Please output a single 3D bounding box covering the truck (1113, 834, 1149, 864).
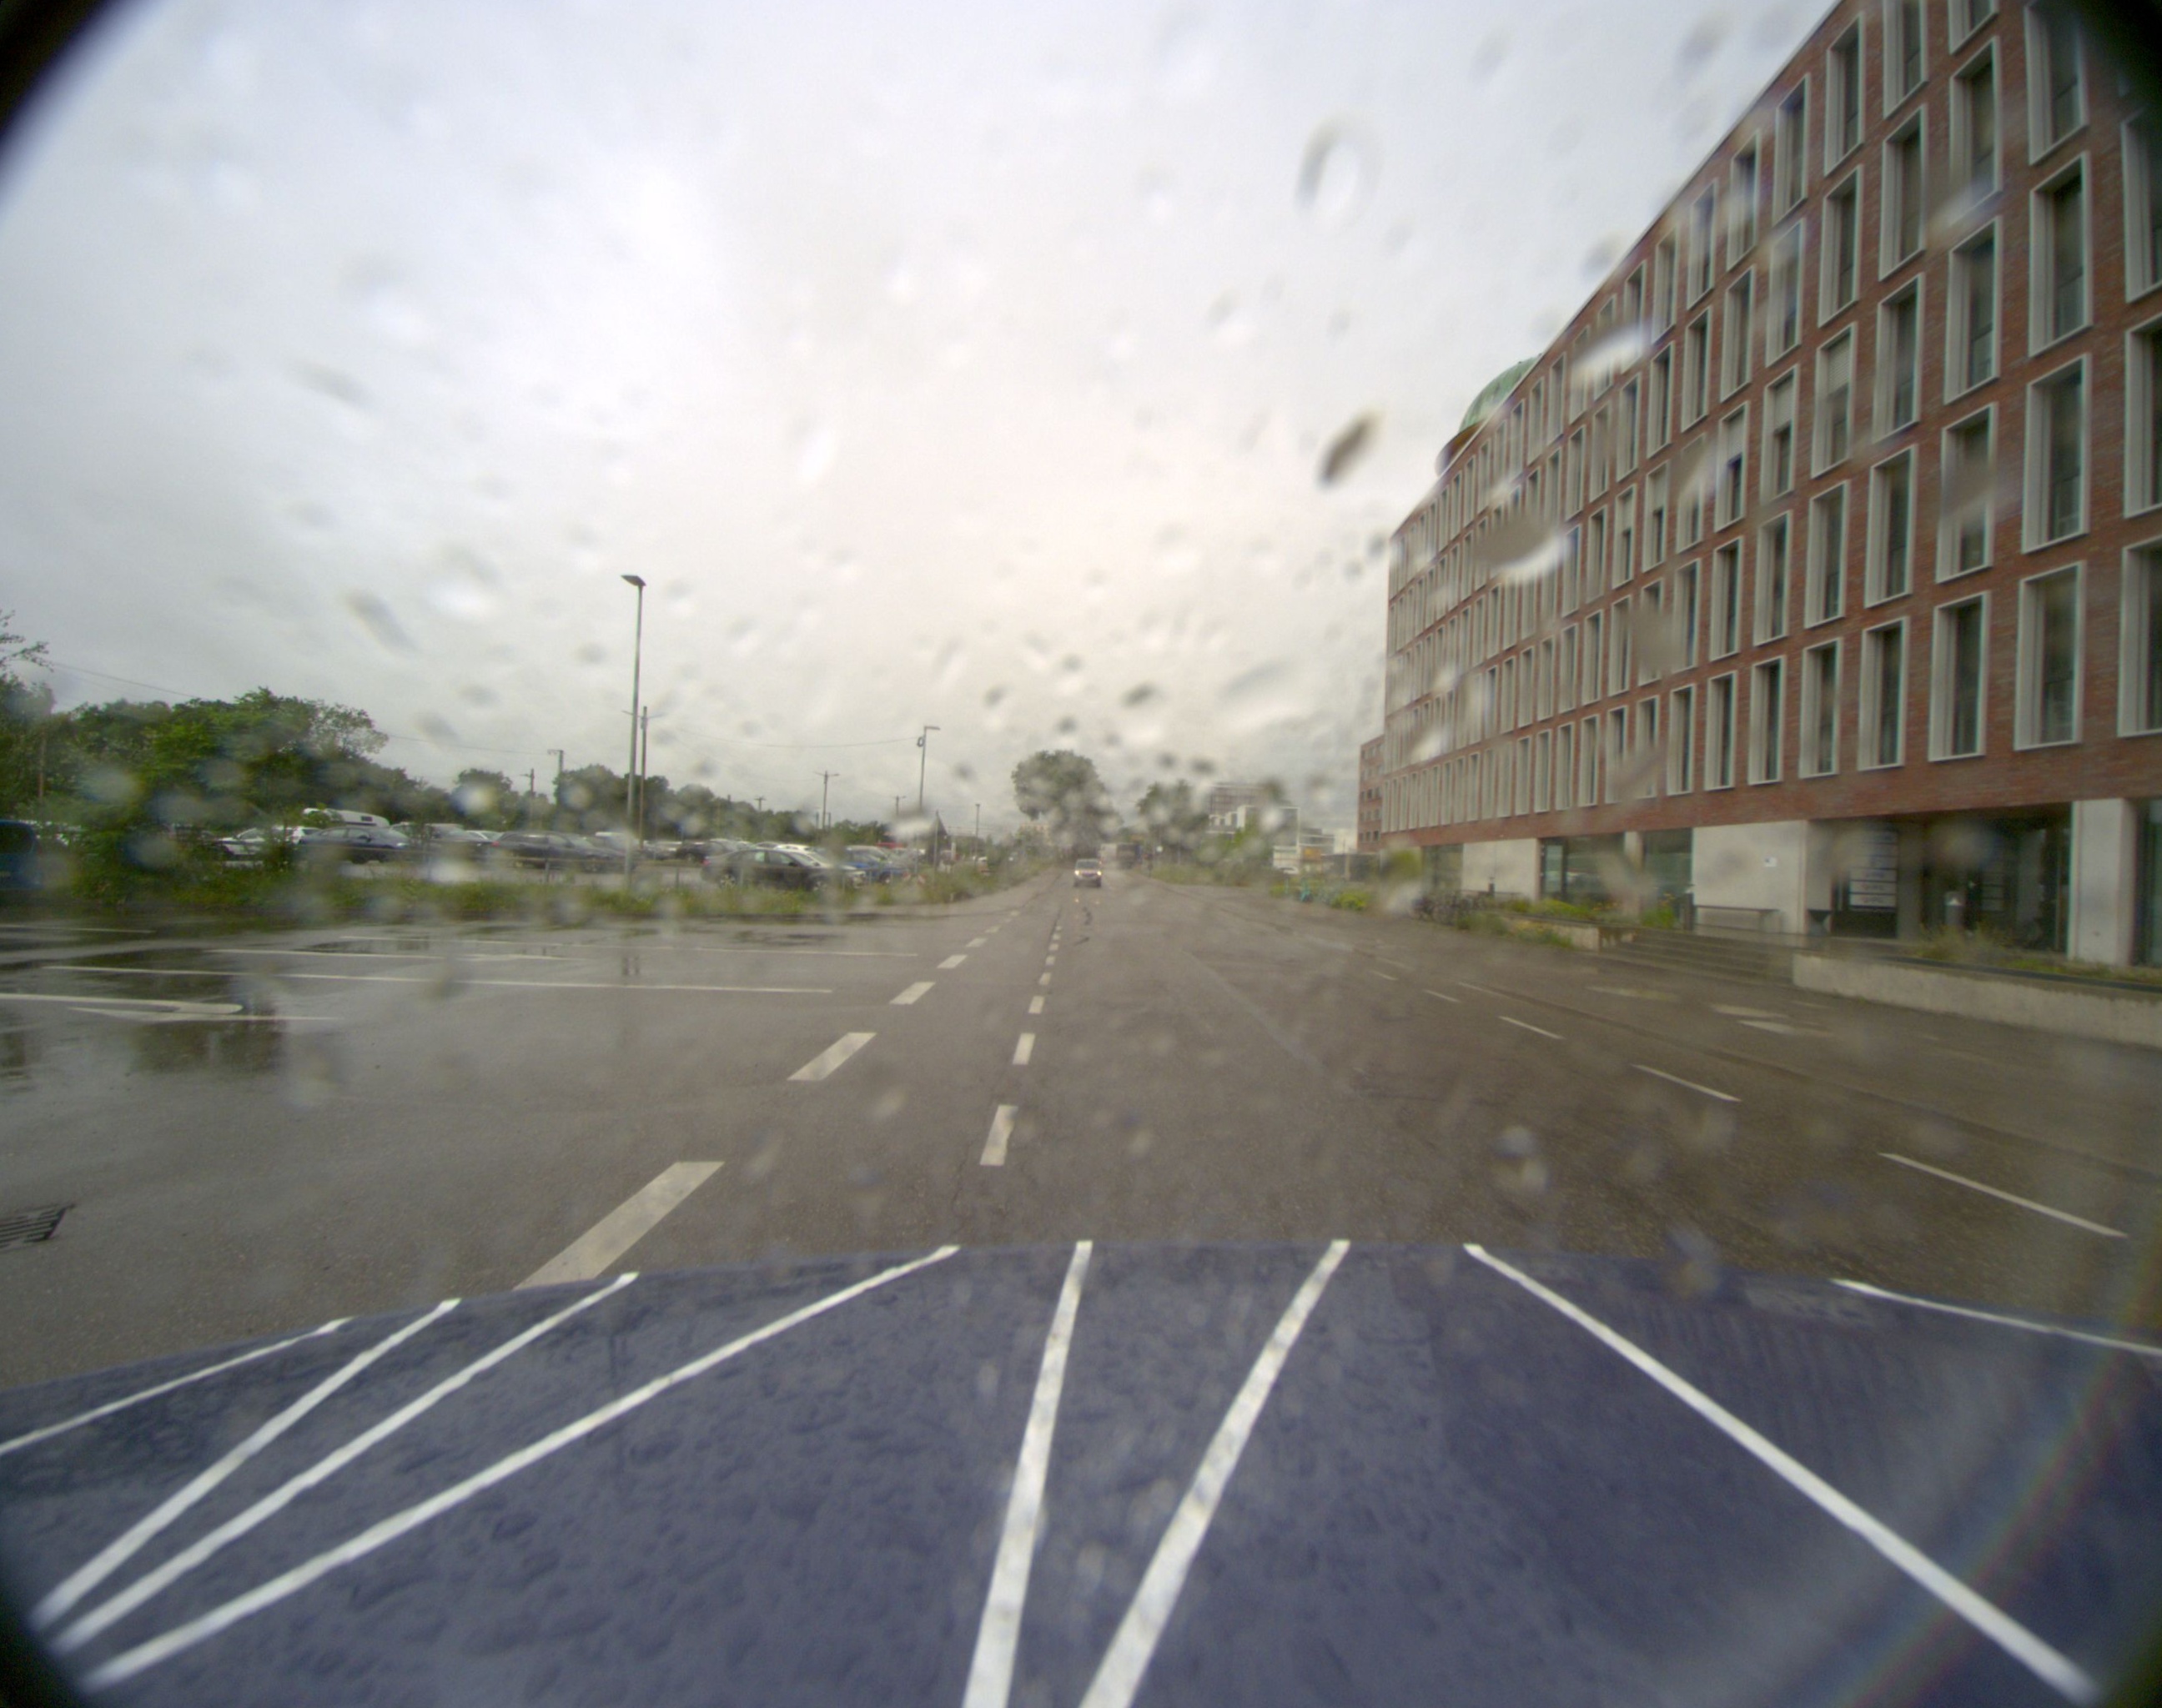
[{"bbox_3d":[8.358,-0.830,126.782,3.295,4.627,6.046,3,1,31],"label":"truck"}]

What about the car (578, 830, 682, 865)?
[{"bbox_3d":[-25.886,-0.373,43.743,4.714,1.596,2.043,5,2,0],"label":"car"}]

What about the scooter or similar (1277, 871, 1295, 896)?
[{"bbox_3d":[10.695,1.530,39.756,0.467,1.223,1.320,3,0,-3],"label":"scooter or similar"}]

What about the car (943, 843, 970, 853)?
[{"bbox_3d":[-20.805,-0.974,127.170,3.996,1.441,1.842,4,2,2],"label":"car"}]

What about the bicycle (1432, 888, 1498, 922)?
[{"bbox_3d":[12.512,1.653,24.750,1.864,1.071,0.544,1,1,-1],"label":"bicycle"}]

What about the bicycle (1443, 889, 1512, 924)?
[{"bbox_3d":[12.495,1.648,23.954,1.864,1.071,0.544,1,1,-1],"label":"bicycle"}]

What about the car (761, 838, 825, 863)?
[{"bbox_3d":[-21.088,-0.283,55.773,3.838,1.476,1.928,5,2,3],"label":"car"}]

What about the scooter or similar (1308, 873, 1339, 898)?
[{"bbox_3d":[11.983,1.569,37.552,1.321,1.170,0.467,3,0,-12],"label":"scooter or similar"}]

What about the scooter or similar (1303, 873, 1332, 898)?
[{"bbox_3d":[12.279,1.632,39.417,1.319,1.170,0.467,3,0,6],"label":"scooter or similar"}]

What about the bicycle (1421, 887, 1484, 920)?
[{"bbox_3d":[12.517,1.663,25.629,1.864,1.071,0.544,1,1,-1],"label":"bicycle"}]

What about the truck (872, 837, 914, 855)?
[{"bbox_3d":[-26.627,-1.125,107.581,5.302,2.354,2.153,3,1,0],"label":"truck"}]

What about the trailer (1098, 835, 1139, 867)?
[{"bbox_3d":[6.038,-0.456,120.128,3.298,4.627,13.750,3,0,16],"label":"trailer"}]

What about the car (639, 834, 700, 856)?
[{"bbox_3d":[-37.121,-0.791,68.606,4.329,1.711,2.020,3,1,-2],"label":"car"}]

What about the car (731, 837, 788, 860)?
[{"bbox_3d":[-28.034,-0.517,66.311,4.071,1.650,1.831,5,2,-2],"label":"car"}]

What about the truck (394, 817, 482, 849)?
[{"bbox_3d":[-48.820,-1.542,57.849,2.076,2.125,5.086,3,0,5],"label":"truck"}]

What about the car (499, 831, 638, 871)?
[{"bbox_3d":[-19.754,-0.129,29.412,3.997,1.401,2.000,2,2,1],"label":"car"}]

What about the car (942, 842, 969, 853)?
[{"bbox_3d":[-20.510,-1.024,124.089,3.961,1.528,1.807,4,2,2],"label":"car"}]

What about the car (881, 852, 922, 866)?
[{"bbox_3d":[-19.432,0.518,82.303,3.896,1.214,1.648,4,2,5],"label":"car"}]

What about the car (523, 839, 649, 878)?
[{"bbox_3d":[-20.743,0.148,31.952,3.997,1.477,2.000,2,2,1],"label":"car"}]

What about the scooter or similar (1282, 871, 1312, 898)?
[{"bbox_3d":[10.627,1.503,37.377,1.317,1.223,0.468,3,1,29],"label":"scooter or similar"}]

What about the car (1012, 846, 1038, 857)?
[{"bbox_3d":[-8.487,-0.377,115.077,3.906,1.585,1.896,2,2,-2],"label":"car"}]

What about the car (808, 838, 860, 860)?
[{"bbox_3d":[-21.690,-0.450,66.787,3.911,1.575,1.786,5,2,3],"label":"car"}]

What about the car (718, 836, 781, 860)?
[{"bbox_3d":[-26.315,-0.494,60.347,4.070,1.596,1.926,5,2,1],"label":"car"}]

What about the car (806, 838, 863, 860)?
[{"bbox_3d":[-20.607,-0.457,63.580,4.054,1.476,1.928,5,2,3],"label":"car"}]

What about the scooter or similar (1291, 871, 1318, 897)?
[{"bbox_3d":[11.299,1.529,38.469,0.468,1.223,1.317,3,0,-28],"label":"scooter or similar"}]

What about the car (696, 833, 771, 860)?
[{"bbox_3d":[-26.190,-0.582,57.342,4.713,1.596,1.926,5,2,1],"label":"car"}]

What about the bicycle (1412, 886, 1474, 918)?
[{"bbox_3d":[12.521,1.657,26.276,1.864,1.071,0.544,1,1,-1],"label":"bicycle"}]

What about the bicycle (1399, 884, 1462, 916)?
[{"bbox_3d":[12.506,1.652,27.204,1.953,1.071,0.620,1,1,-1],"label":"bicycle"}]

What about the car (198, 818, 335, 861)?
[{"bbox_3d":[-37.947,-0.654,35.486,4.000,1.718,1.896,3,0,-9],"label":"car"}]

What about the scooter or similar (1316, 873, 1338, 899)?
[{"bbox_3d":[11.826,1.543,36.500,0.466,1.223,1.211,4,1,43],"label":"scooter or similar"}]

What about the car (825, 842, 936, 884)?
[{"bbox_3d":[-9.721,0.397,37.089,4.691,1.725,2.128,3,2,5],"label":"car"}]

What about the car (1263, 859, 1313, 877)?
[{"bbox_3d":[21.113,1.395,77.616,4.534,1.632,1.999,2,1,-3],"label":"car"}]

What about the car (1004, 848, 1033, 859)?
[{"bbox_3d":[-8.558,-0.054,104.499,3.781,1.385,1.905,2,2,-2],"label":"car"}]

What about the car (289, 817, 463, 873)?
[{"bbox_3d":[-26.229,-0.344,28.416,4.453,1.663,2.042,4,2,-3],"label":"car"}]

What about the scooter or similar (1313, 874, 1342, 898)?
[{"bbox_3d":[12.619,1.641,38.892,1.319,1.170,0.467,3,0,6],"label":"scooter or similar"}]

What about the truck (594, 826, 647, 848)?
[{"bbox_3d":[-47.636,-1.706,78.758,2.086,2.002,5.280,3,0,2],"label":"truck"}]

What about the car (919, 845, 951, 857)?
[{"bbox_3d":[-20.570,-0.479,107.322,3.961,1.419,1.887,4,2,2],"label":"car"}]

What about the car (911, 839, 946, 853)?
[{"bbox_3d":[-19.208,-0.998,96.038,3.961,1.481,1.778,4,2,2],"label":"car"}]

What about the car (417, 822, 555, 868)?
[{"bbox_3d":[-26.545,-0.430,34.017,4.452,1.663,2.043,5,2,0],"label":"car"}]

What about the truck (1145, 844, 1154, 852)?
[{"bbox_3d":[22.698,-2.058,251.222,2.090,2.604,6.976,3,1,-1],"label":"truck"}]

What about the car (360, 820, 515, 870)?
[{"bbox_3d":[-26.173,-0.380,31.034,4.453,1.663,2.042,4,2,-3],"label":"car"}]

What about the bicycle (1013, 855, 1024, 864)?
[{"bbox_3d":[-7.236,0.652,88.001,0.507,1.078,1.706,3,1,21],"label":"bicycle"}]

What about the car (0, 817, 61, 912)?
[{"bbox_3d":[-23.711,0.147,15.208,3.997,1.911,1.831,2,0,-1],"label":"car"}]

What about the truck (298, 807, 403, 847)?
[{"bbox_3d":[-48.967,-1.765,51.114,2.077,2.388,5.083,3,0,0],"label":"truck"}]

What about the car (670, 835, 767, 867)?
[{"bbox_3d":[-20.899,-0.188,44.003,4.633,1.706,2.017,2,2,-5],"label":"car"}]

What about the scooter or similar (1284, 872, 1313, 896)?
[{"bbox_3d":[11.555,1.596,40.449,1.316,1.223,0.509,3,1,39],"label":"scooter or similar"}]

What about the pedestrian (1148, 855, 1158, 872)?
[{"bbox_3d":[7.519,0.956,79.355,0.911,1.708,1.026,2,1,0],"label":"pedestrian"}]

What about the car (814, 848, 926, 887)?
[{"bbox_3d":[-9.126,0.569,33.103,4.306,1.508,1.819,2,2,1],"label":"car"}]

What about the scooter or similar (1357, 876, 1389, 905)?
[{"bbox_3d":[13.083,1.631,34.076,1.228,1.201,0.418,3,1,7],"label":"scooter or similar"}]

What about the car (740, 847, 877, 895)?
[{"bbox_3d":[-9.650,0.570,27.169,4.192,1.501,1.890,2,2,1],"label":"car"}]

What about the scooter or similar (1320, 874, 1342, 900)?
[{"bbox_3d":[11.787,1.560,35.780,0.466,1.201,1.211,4,1,43],"label":"scooter or similar"}]

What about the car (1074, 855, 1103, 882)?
[{"bbox_3d":[0.462,0.966,51.349,1.838,1.713,4.172,3,-1,-1],"label":"car"}]

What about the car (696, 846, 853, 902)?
[{"bbox_3d":[-9.717,0.625,24.399,4.231,1.392,1.888,5,1,-8],"label":"car"}]
